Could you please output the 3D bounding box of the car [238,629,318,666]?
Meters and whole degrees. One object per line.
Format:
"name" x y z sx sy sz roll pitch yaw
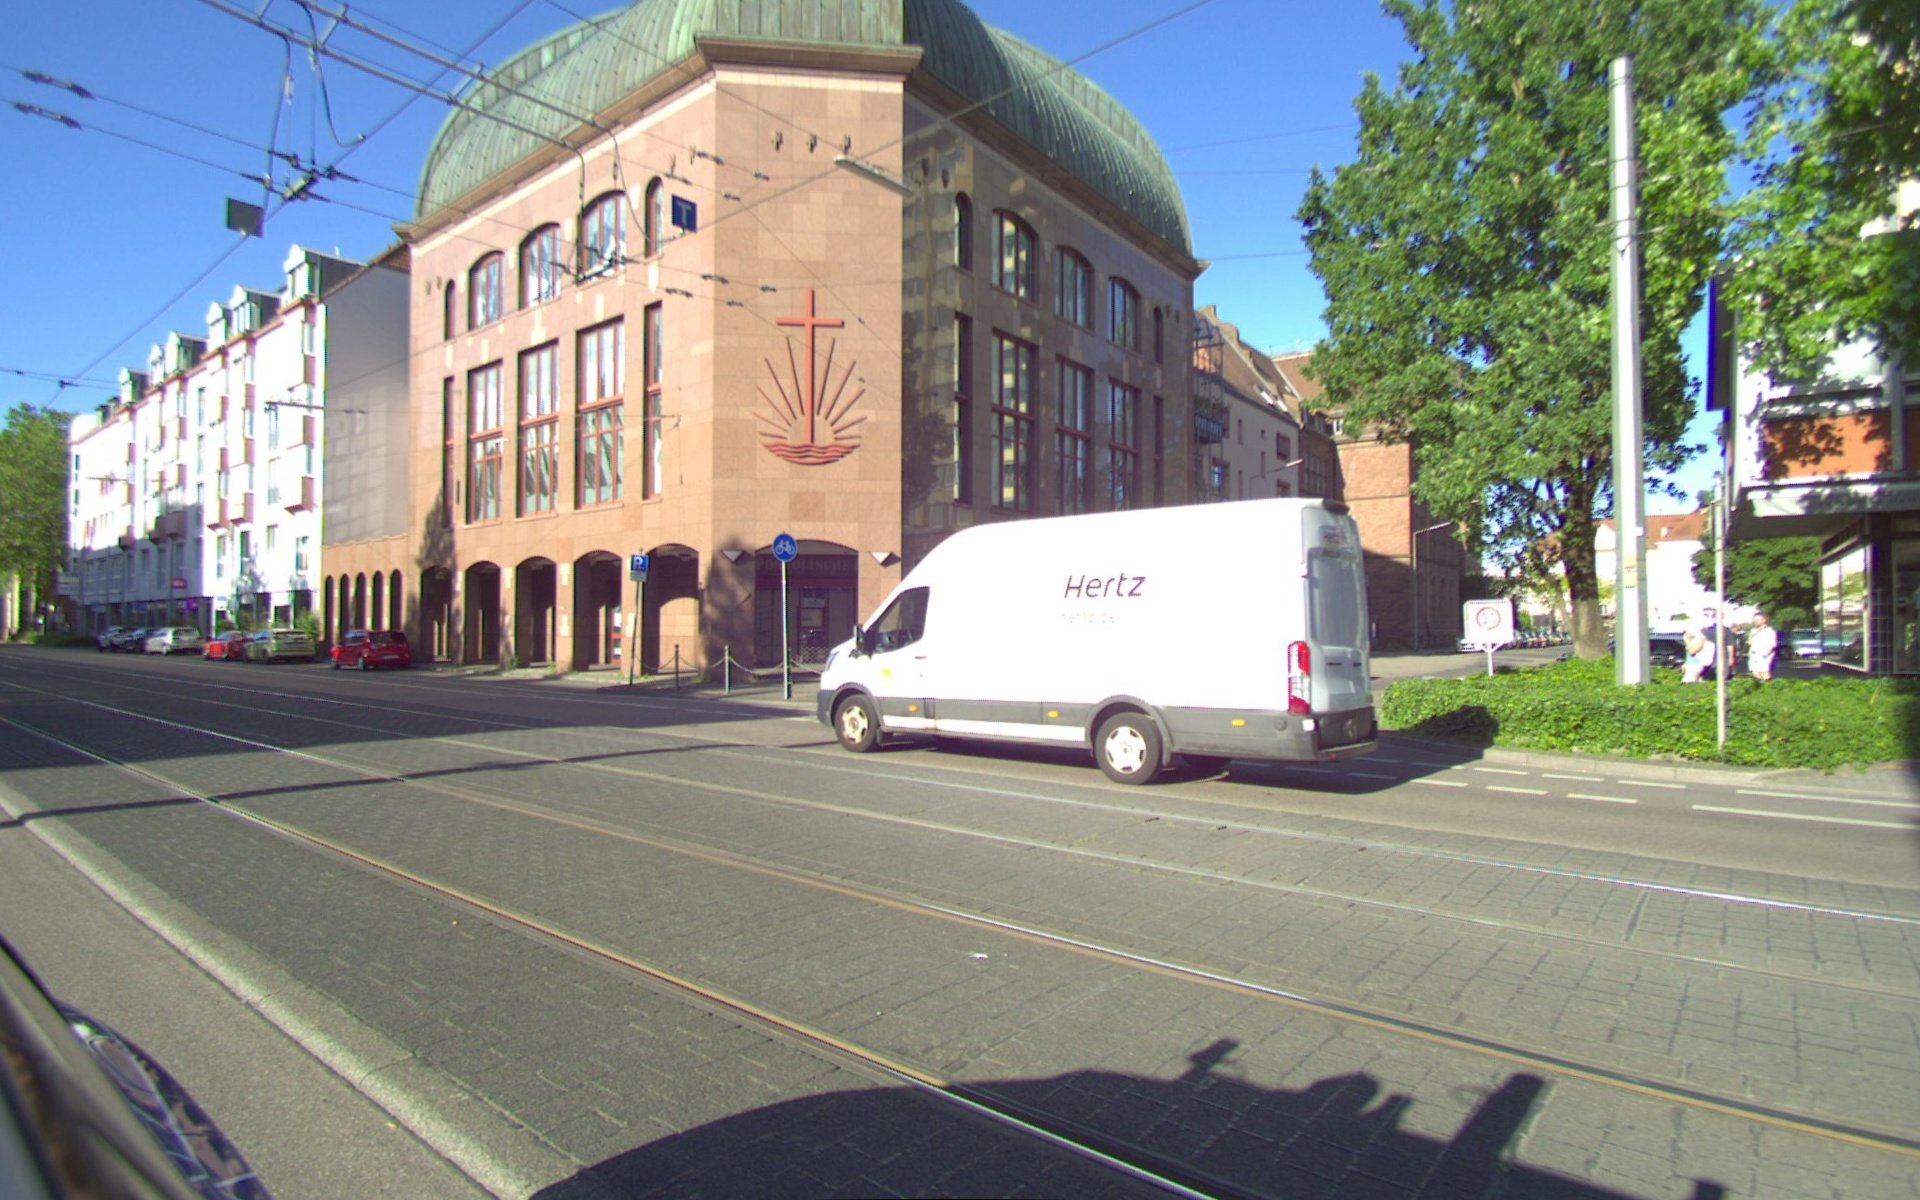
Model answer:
"car" -28.798 1.955 42.715 3.850 1.465 1.832 -1 -1 40

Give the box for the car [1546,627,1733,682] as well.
"car" 21.635 1.669 32.322 4.725 1.541 1.972 -2 0 42

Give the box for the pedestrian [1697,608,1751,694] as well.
"pedestrian" 14.619 0.966 19.360 0.440 1.604 0.723 2 -3 -40

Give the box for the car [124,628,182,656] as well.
"car" -44.949 2.320 56.323 3.850 1.465 1.832 -1 -1 40

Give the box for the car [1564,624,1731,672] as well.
"car" 24.599 1.672 36.319 4.725 1.541 1.972 -2 -1 42

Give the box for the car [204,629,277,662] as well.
"car" -32.606 2.033 45.839 3.850 1.364 1.832 -1 -1 40

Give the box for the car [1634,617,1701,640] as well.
"car" 63.037 2.564 90.215 4.828 2.029 1.974 -2 -2 38

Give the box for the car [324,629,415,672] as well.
"car" -21.352 1.783 36.576 3.467 1.465 1.732 -1 -1 39

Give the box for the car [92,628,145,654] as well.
"car" -50.804 2.454 61.050 3.850 1.465 1.832 -1 -1 40

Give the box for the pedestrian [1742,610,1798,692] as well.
"pedestrian" 16.239 1.007 20.288 0.439 1.604 0.724 1 -2 -25

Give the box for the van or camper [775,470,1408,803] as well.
"van or camper" 1.052 0.391 11.376 7.010 2.760 2.017 -1 -3 38

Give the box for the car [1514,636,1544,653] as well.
"car" 52.096 4.049 92.568 1.995 1.542 4.176 -1 -3 35

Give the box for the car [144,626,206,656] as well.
"car" -41.276 2.125 53.187 3.850 1.465 1.832 -1 -1 40
